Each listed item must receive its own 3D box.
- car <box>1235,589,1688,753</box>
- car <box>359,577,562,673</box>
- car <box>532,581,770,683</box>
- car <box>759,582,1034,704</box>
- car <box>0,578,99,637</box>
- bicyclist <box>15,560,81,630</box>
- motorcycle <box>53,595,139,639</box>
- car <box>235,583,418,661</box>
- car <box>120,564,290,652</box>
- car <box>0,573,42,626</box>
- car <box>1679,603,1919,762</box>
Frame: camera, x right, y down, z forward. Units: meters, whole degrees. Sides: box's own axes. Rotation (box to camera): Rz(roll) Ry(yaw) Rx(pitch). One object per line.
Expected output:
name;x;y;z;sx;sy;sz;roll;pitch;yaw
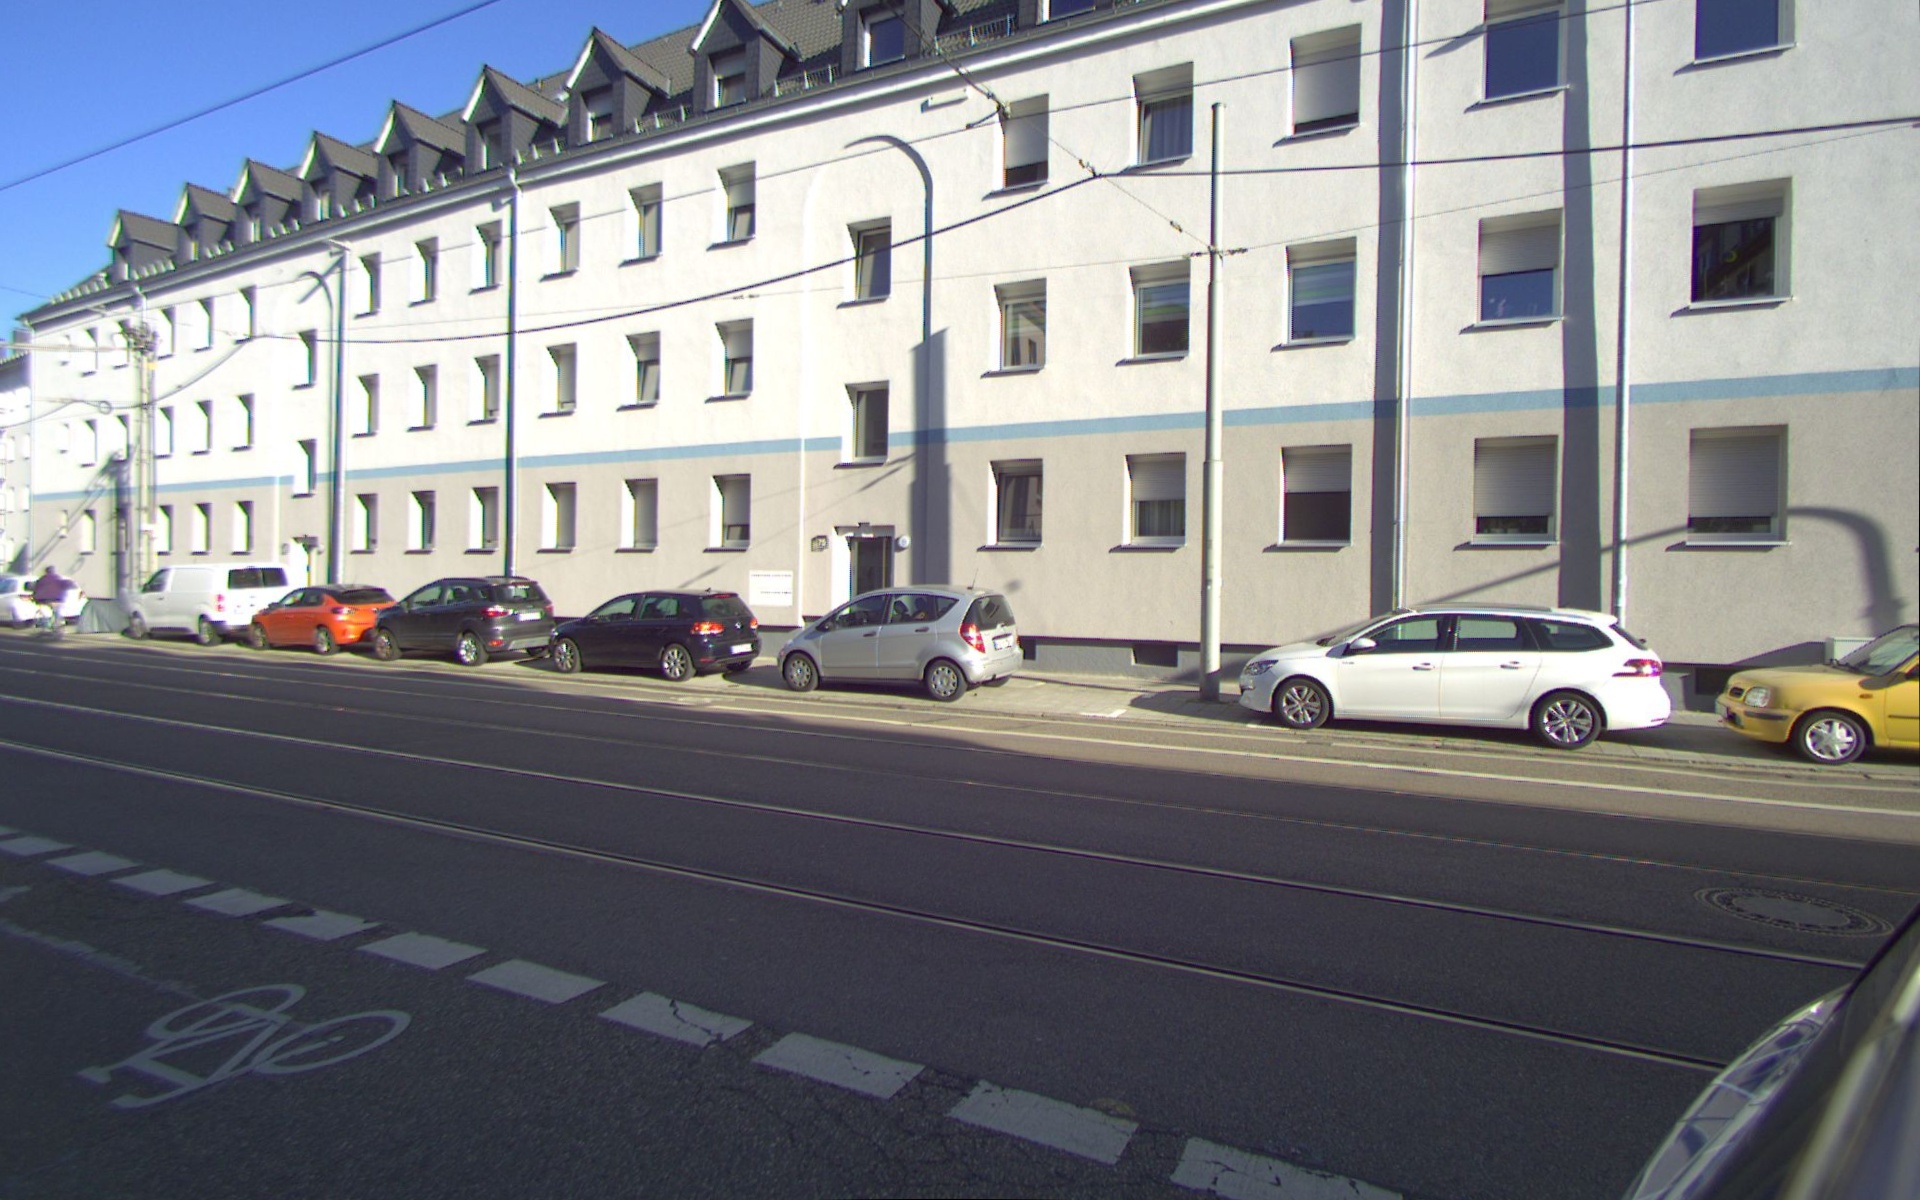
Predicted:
car;5.651;0.691;11.887;4.466;1.590;1.670;1;2;27
car;-9.964;0.417;20.168;3.867;1.689;1.651;1;4;28
car;-5.437;0.491;17.761;3.965;1.556;1.584;1;3;25
car;-0.991;0.560;15.519;3.868;1.590;1.744;1;4;29
car;-28.213;0.195;30.605;4.506;1.666;1.832;0;0;28
bicyclist;-22.490;-0.127;24.961;0.960;1.697;0.929;0;0;26
motorcycle;-23.309;0.452;27.316;1.734;1.159;0.493;0;0;-12
car;-14.100;0.422;22.527;3.743;1.501;1.785;0;4;28
car;-18.542;0.129;24.840;4.116;1.995;1.775;1;2;29
car;-31.971;-0.025;33.004;3.925;1.666;1.832;0;0;28
car;9.747;0.780;9.945;4.159;1.448;1.505;0;1;27
